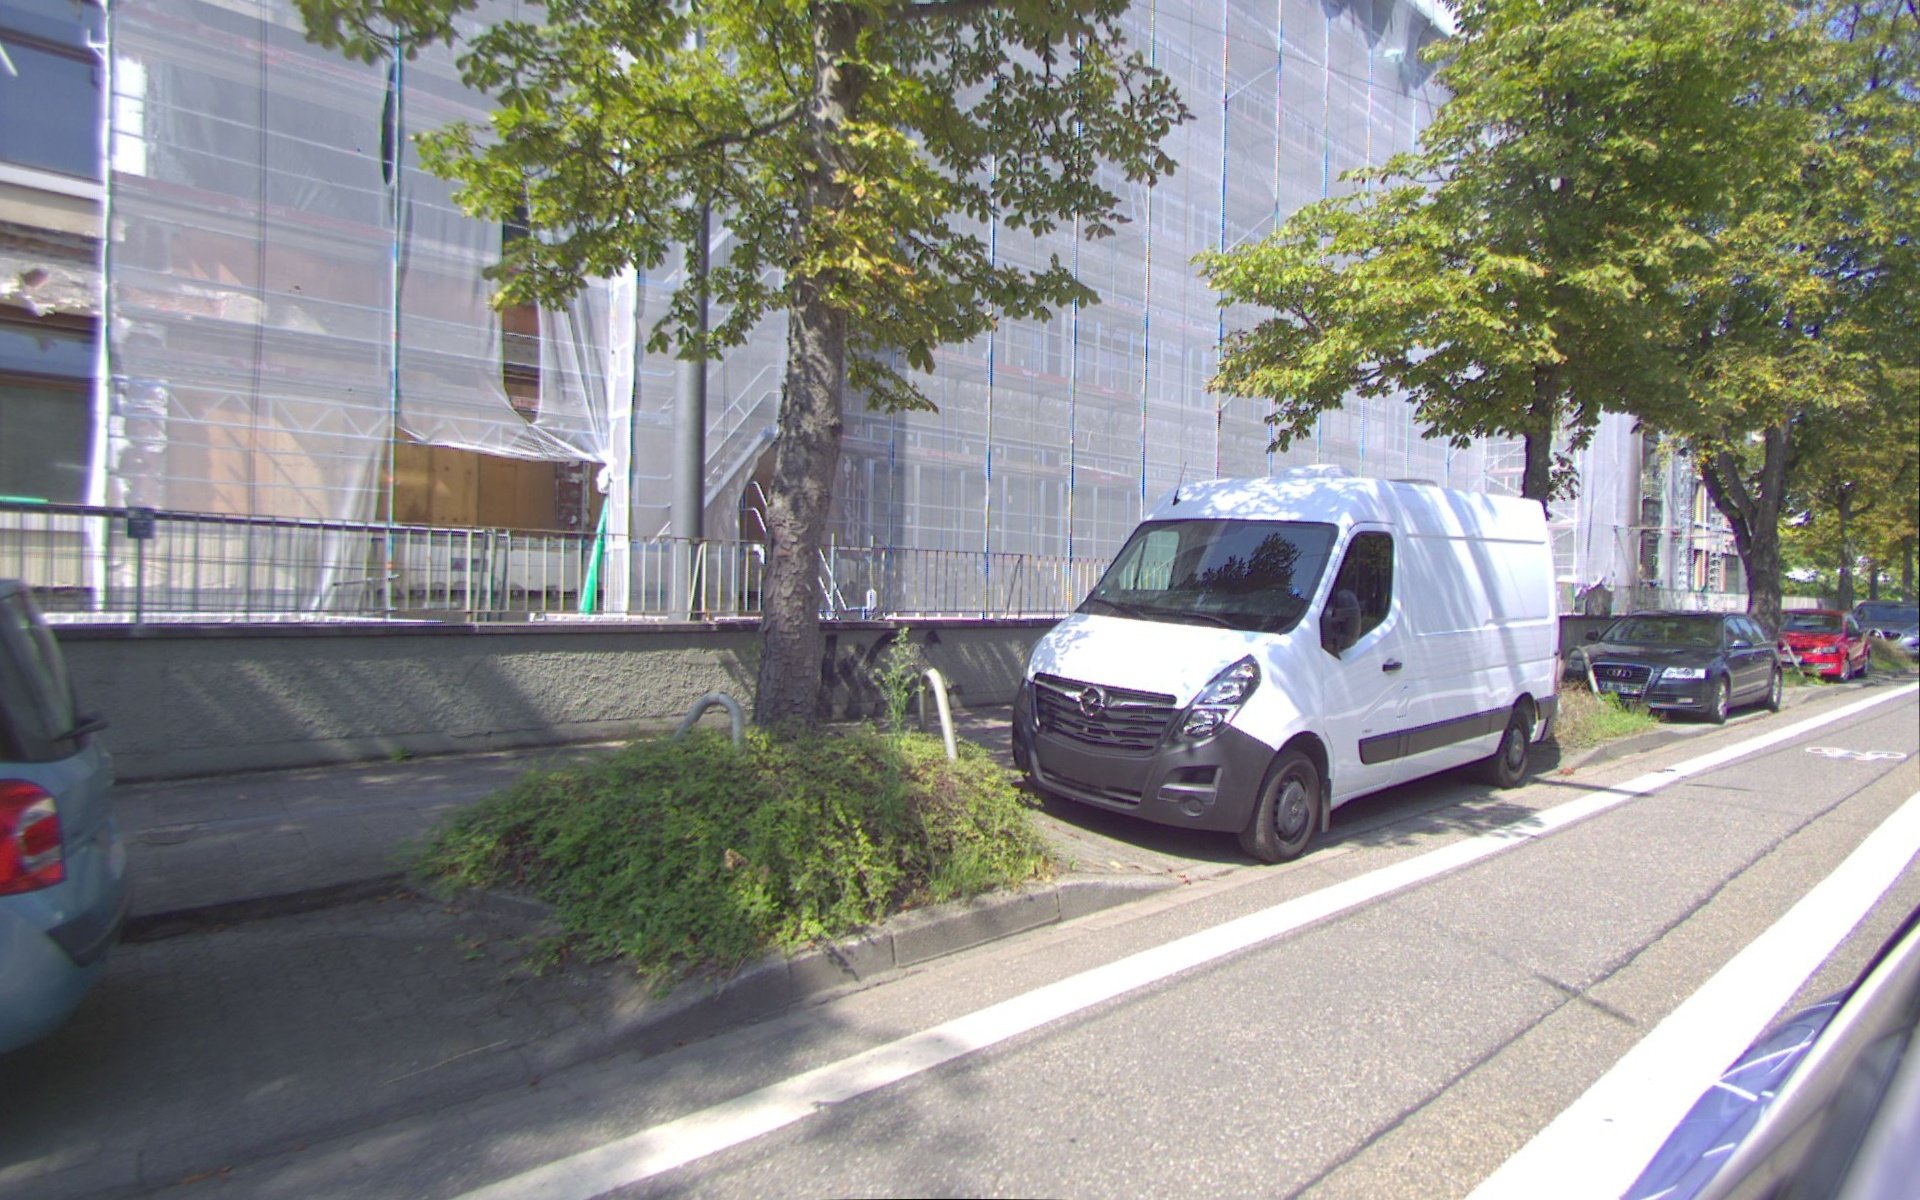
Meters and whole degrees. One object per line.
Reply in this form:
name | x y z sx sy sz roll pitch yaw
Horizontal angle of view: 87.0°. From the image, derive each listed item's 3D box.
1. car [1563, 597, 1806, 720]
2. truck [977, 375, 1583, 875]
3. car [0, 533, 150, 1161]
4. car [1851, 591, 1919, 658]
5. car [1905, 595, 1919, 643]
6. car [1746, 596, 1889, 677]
car | 10.436 0.720 14.431 4.717 1.458 1.689 0 1 -40
truck | 2.819 0.123 7.880 5.495 2.631 1.920 0 1 -41
car | -4.314 0.595 2.086 4.097 1.599 1.678 0 3 -40
car | 26.089 0.648 27.845 4.567 1.710 1.765 1 0 -41
car | 33.810 0.684 34.596 3.928 1.590 1.689 1 0 -40
car | 18.095 0.709 21.297 4.059 1.519 1.688 0 1 -41
